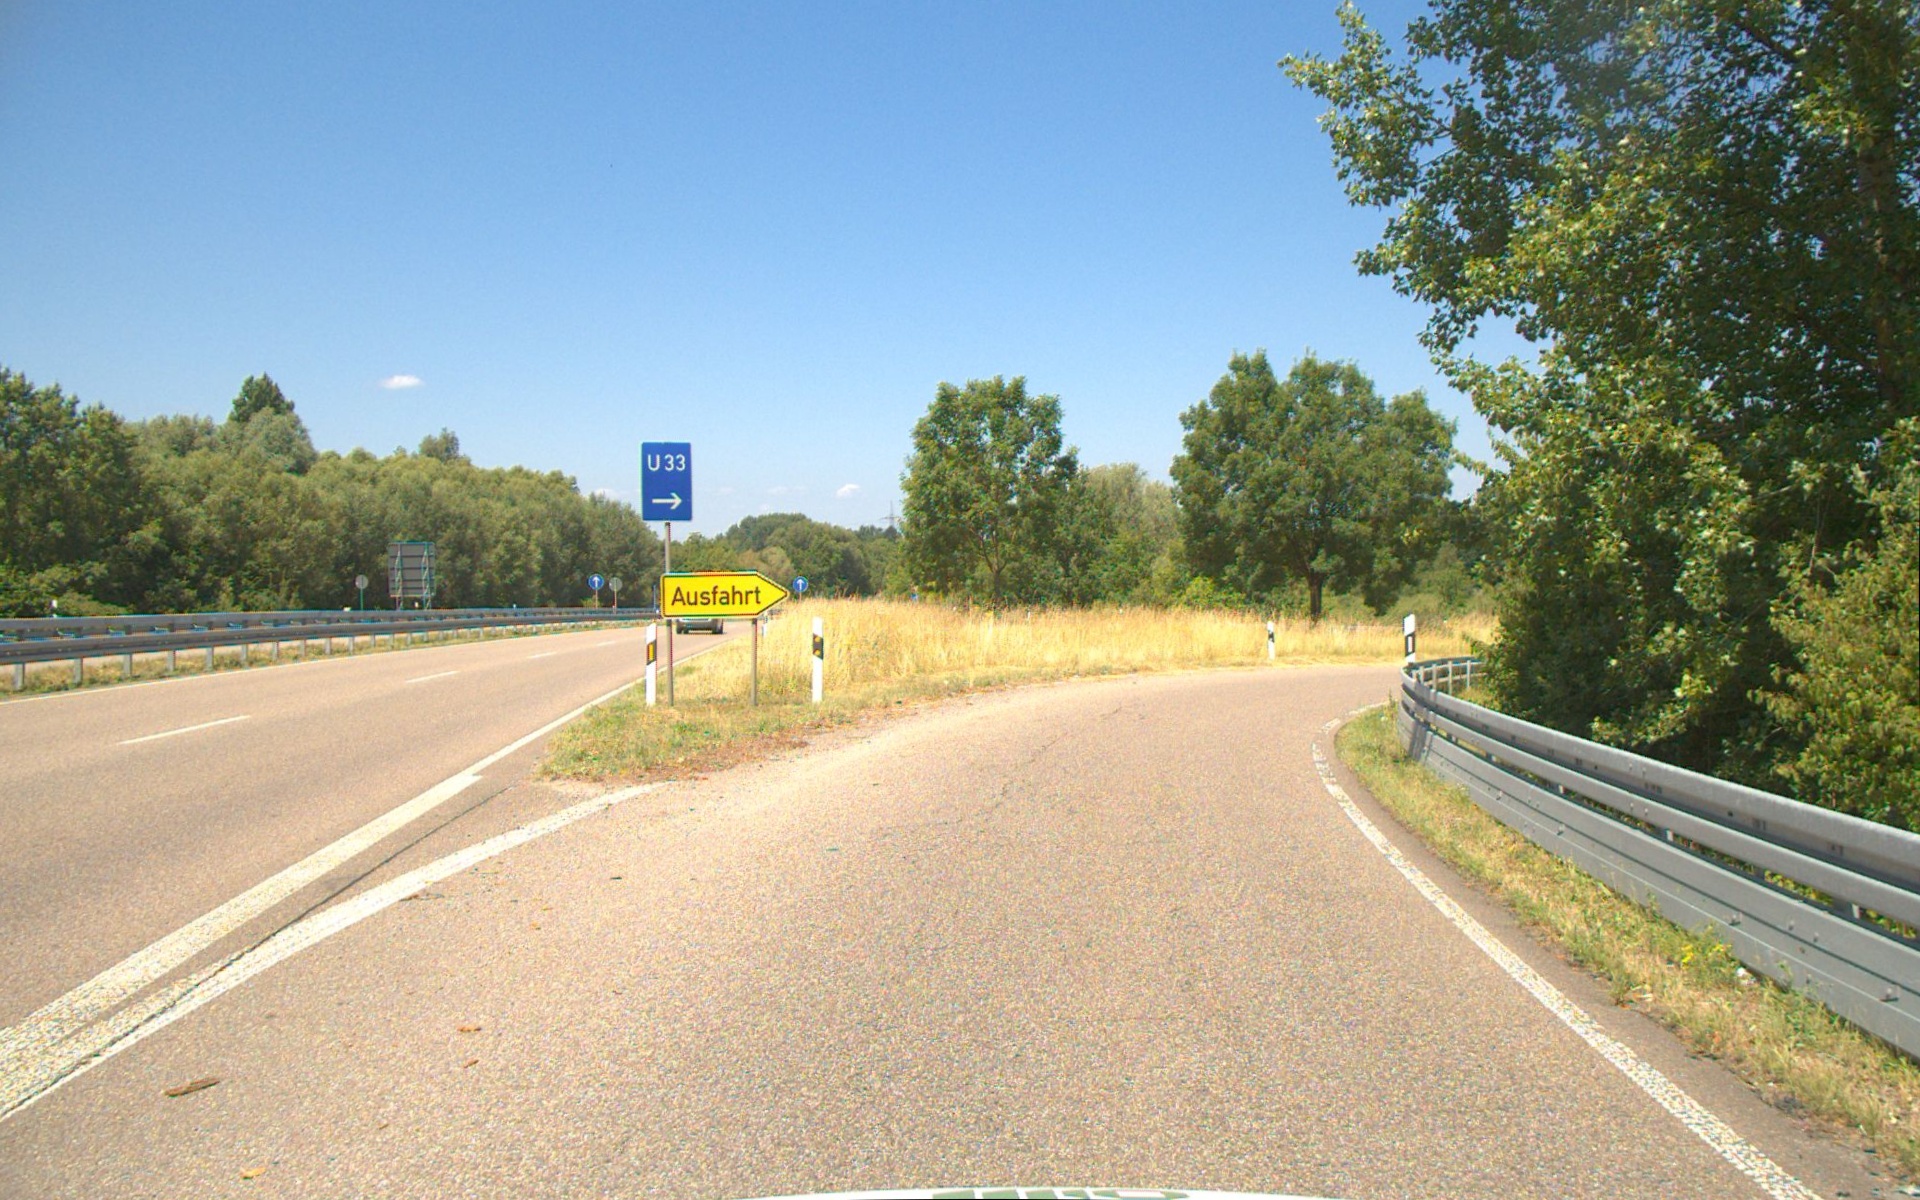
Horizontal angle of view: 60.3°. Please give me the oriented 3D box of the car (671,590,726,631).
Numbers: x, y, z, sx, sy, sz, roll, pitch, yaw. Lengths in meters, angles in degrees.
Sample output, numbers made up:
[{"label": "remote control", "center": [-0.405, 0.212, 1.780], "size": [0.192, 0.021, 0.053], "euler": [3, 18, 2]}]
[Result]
[{"label": "car", "center": [-11.307, 0.447, 71.652], "size": [1.995, 1.702, 3.996], "euler": [1, 0, -4]}]
